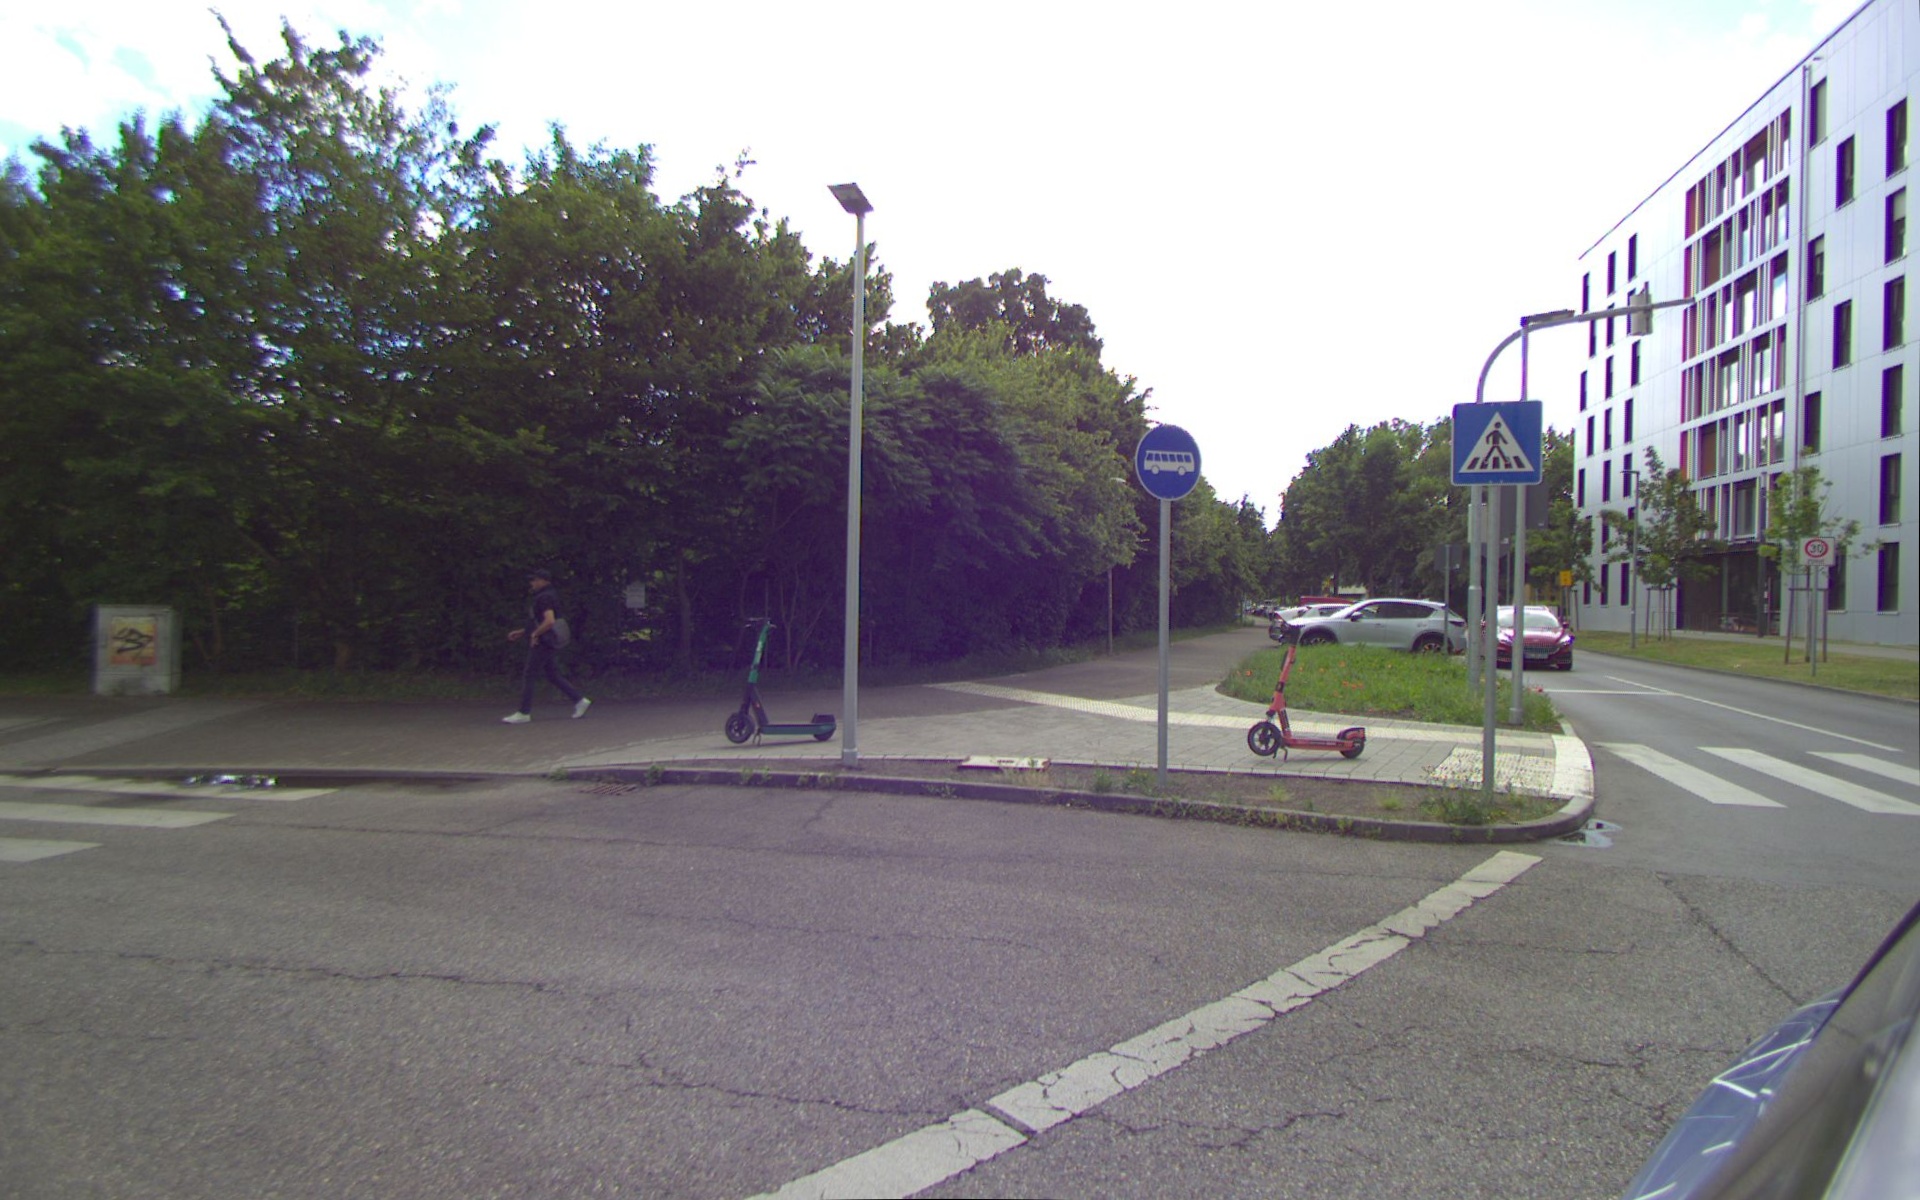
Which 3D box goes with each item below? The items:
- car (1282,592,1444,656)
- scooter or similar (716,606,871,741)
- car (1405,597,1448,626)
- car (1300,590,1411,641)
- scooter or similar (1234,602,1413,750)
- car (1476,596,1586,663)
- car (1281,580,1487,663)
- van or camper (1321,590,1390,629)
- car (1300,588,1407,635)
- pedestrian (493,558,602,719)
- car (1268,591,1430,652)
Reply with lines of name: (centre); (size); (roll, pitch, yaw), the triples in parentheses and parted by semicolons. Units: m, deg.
car: (11.322, 0.646, 28.689); (4.116, 1.606, 1.784); (2, 0, 20)
scooter or similar: (-1.725, 0.723, 10.477); (1.464, 1.291, 0.623); (-1, 0, -25)
car: (28.567, 0.703, 62.093); (1.794, 1.638, 3.979); (2, 1, 16)
car: (16.594, 0.621, 42.657); (4.240, 1.916, 1.826); (2, 0, 20)
scooter or similar: (3.410, 0.696, 9.533); (1.494, 1.330, 0.573); (1, 0, -10)
car: (15.247, 0.734, 27.230); (1.911, 1.652, 4.213); (-1, 0, 21)
car: (10.711, 0.508, 25.978); (4.602, 1.774, 2.058); (3, 0, 18)
van or camper: (24.884, 0.590, 63.845); (3.931, 2.349, 1.872); (-1, -1, 20)
car: (18.461, 0.531, 47.685); (4.508, 1.923, 1.872); (3, 1, 20)
pedestrian: (-4.898, 0.443, 12.070); (0.965, 1.845, 0.858); (1, 0, -4)
car: (11.826, 0.610, 31.027); (4.435, 1.582, 1.899); (3, 0, 20)
